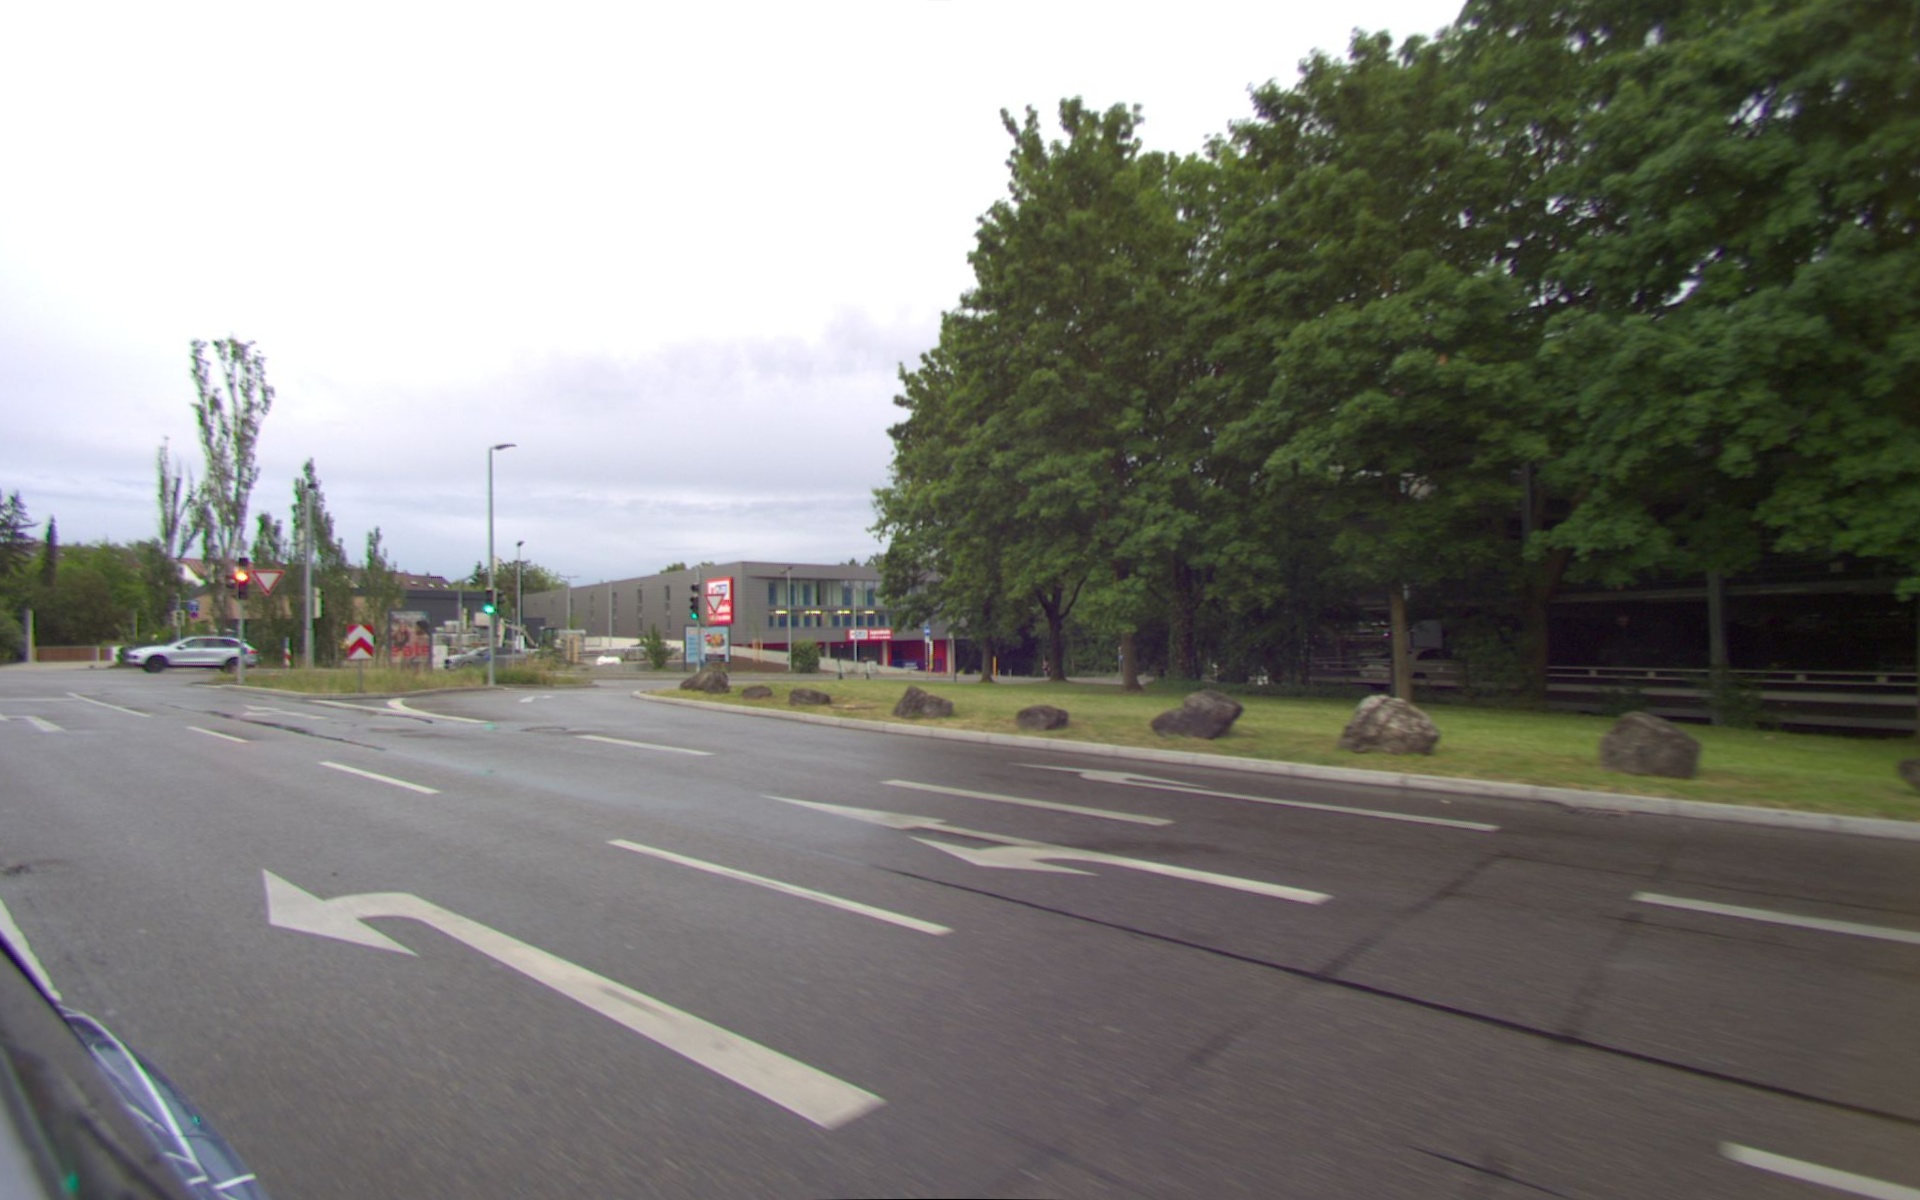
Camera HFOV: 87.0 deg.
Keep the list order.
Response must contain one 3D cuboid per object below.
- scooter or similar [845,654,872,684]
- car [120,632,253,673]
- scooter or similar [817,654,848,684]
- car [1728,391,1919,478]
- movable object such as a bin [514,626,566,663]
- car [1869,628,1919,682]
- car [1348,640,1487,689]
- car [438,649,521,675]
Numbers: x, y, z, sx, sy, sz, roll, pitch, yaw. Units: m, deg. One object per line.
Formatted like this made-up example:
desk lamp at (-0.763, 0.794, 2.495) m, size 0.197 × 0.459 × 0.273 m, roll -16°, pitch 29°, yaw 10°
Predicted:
scooter or similar at (-4.458, 3.039, 44.432) m, size 0.516 × 1.269 × 1.211 m, roll -2°, pitch -5°, yaw 35°
car at (-35.160, 2.434, 46.071) m, size 4.556 × 1.716 × 1.841 m, roll 5°, pitch -6°, yaw -44°
scooter or similar at (-5.461, 2.972, 43.389) m, size 0.548 × 1.269 × 1.341 m, roll -2°, pitch -5°, yaw 35°
car at (19.829, -3.671, 22.925) m, size 3.931 × 1.530 × 2.006 m, roll -2°, pitch -1°, yaw -21°
movable object such as a bin at (-30.965, 3.315, 74.636) m, size 1.927 × 2.647 × 2.958 m, roll -3°, pitch -6°, yaw 40°
car at (28.856, 1.619, 29.669) m, size 3.931 × 1.530 × 2.006 m, roll 2°, pitch -2°, yaw -27°
car at (15.097, 2.114, 33.457) m, size 3.930 × 1.530 × 2.006 m, roll 2°, pitch -2°, yaw -21°
car at (-27.631, 3.580, 58.280) m, size 3.980 × 1.415 × 1.842 m, roll 2°, pitch -4°, yaw -42°
